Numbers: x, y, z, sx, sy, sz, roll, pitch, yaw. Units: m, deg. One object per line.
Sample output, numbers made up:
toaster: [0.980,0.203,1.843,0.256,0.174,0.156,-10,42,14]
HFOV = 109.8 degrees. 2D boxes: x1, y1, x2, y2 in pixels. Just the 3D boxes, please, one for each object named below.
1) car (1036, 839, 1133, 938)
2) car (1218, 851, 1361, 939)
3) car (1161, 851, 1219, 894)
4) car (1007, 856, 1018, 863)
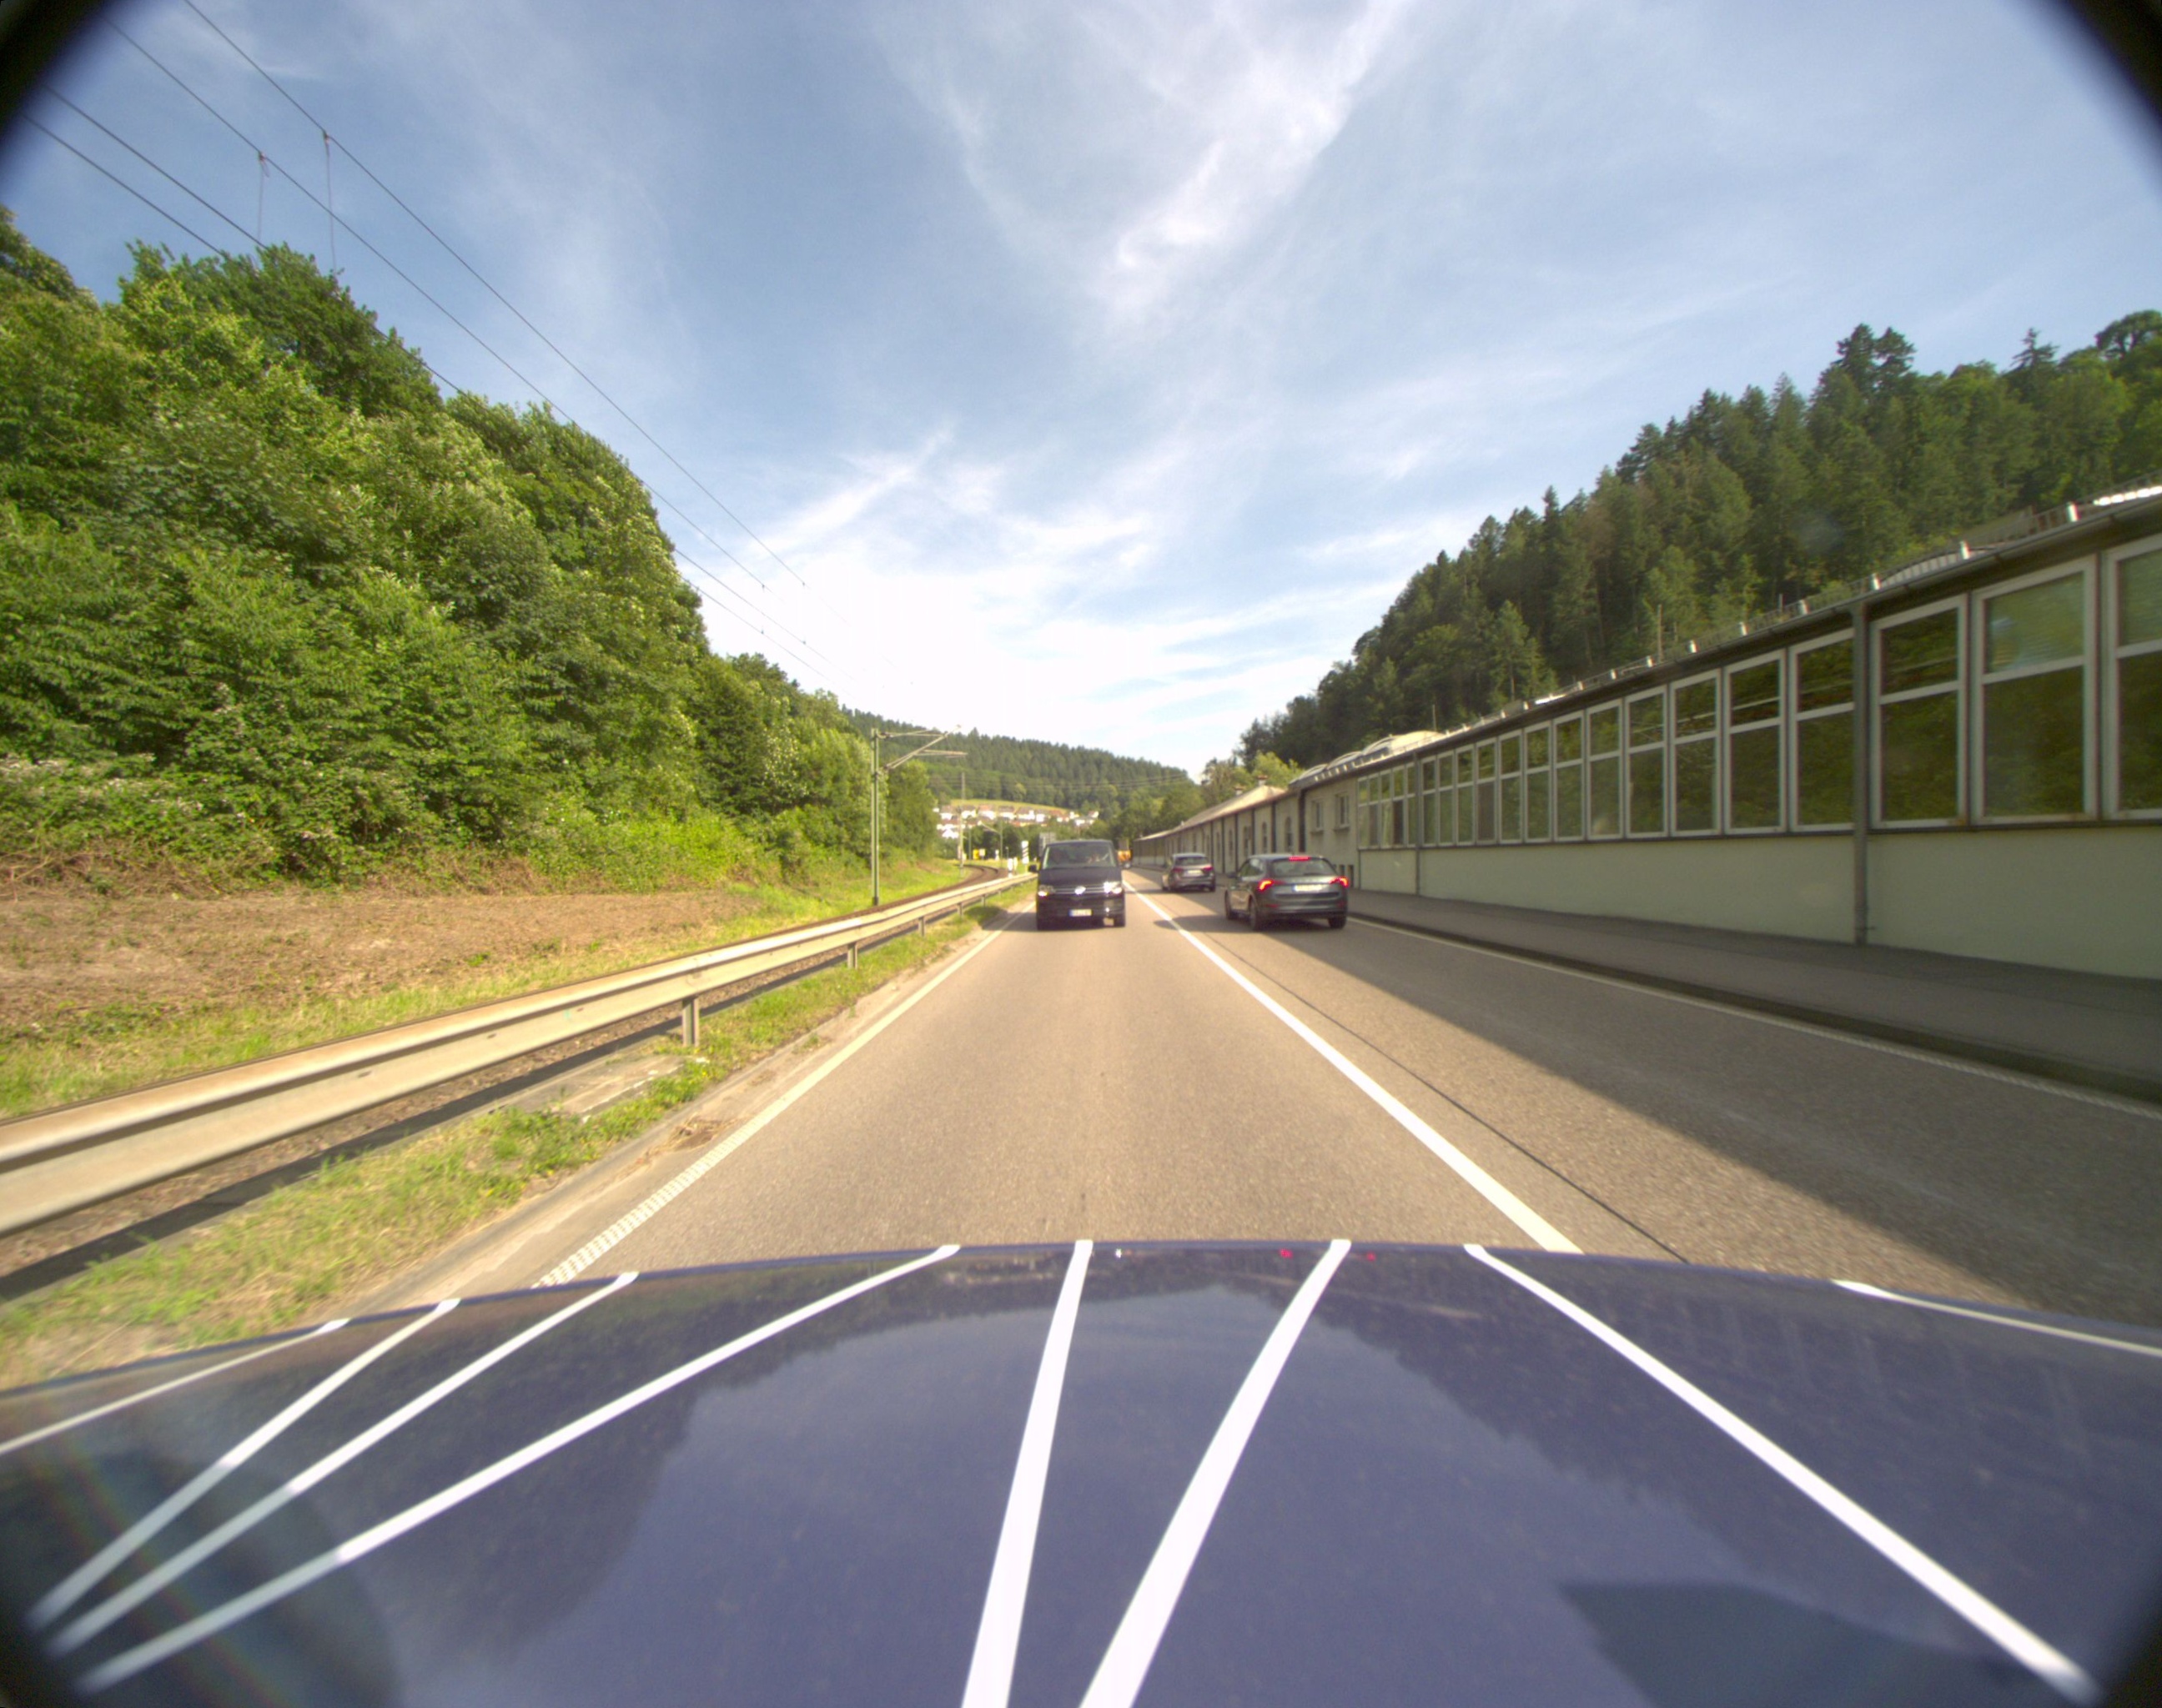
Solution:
car: [-0.009,0.697,17.893,1.901,1.927,5.187,-2,0,-2]
car: [4.047,0.725,15.437,1.778,1.482,4.052,-3,0,1]
car: [4.273,0.687,30.424,1.723,1.505,4.198,-3,0,1]
car: [-17.651,1.359,195.314,1.937,1.572,4.452,-3,0,-17]
